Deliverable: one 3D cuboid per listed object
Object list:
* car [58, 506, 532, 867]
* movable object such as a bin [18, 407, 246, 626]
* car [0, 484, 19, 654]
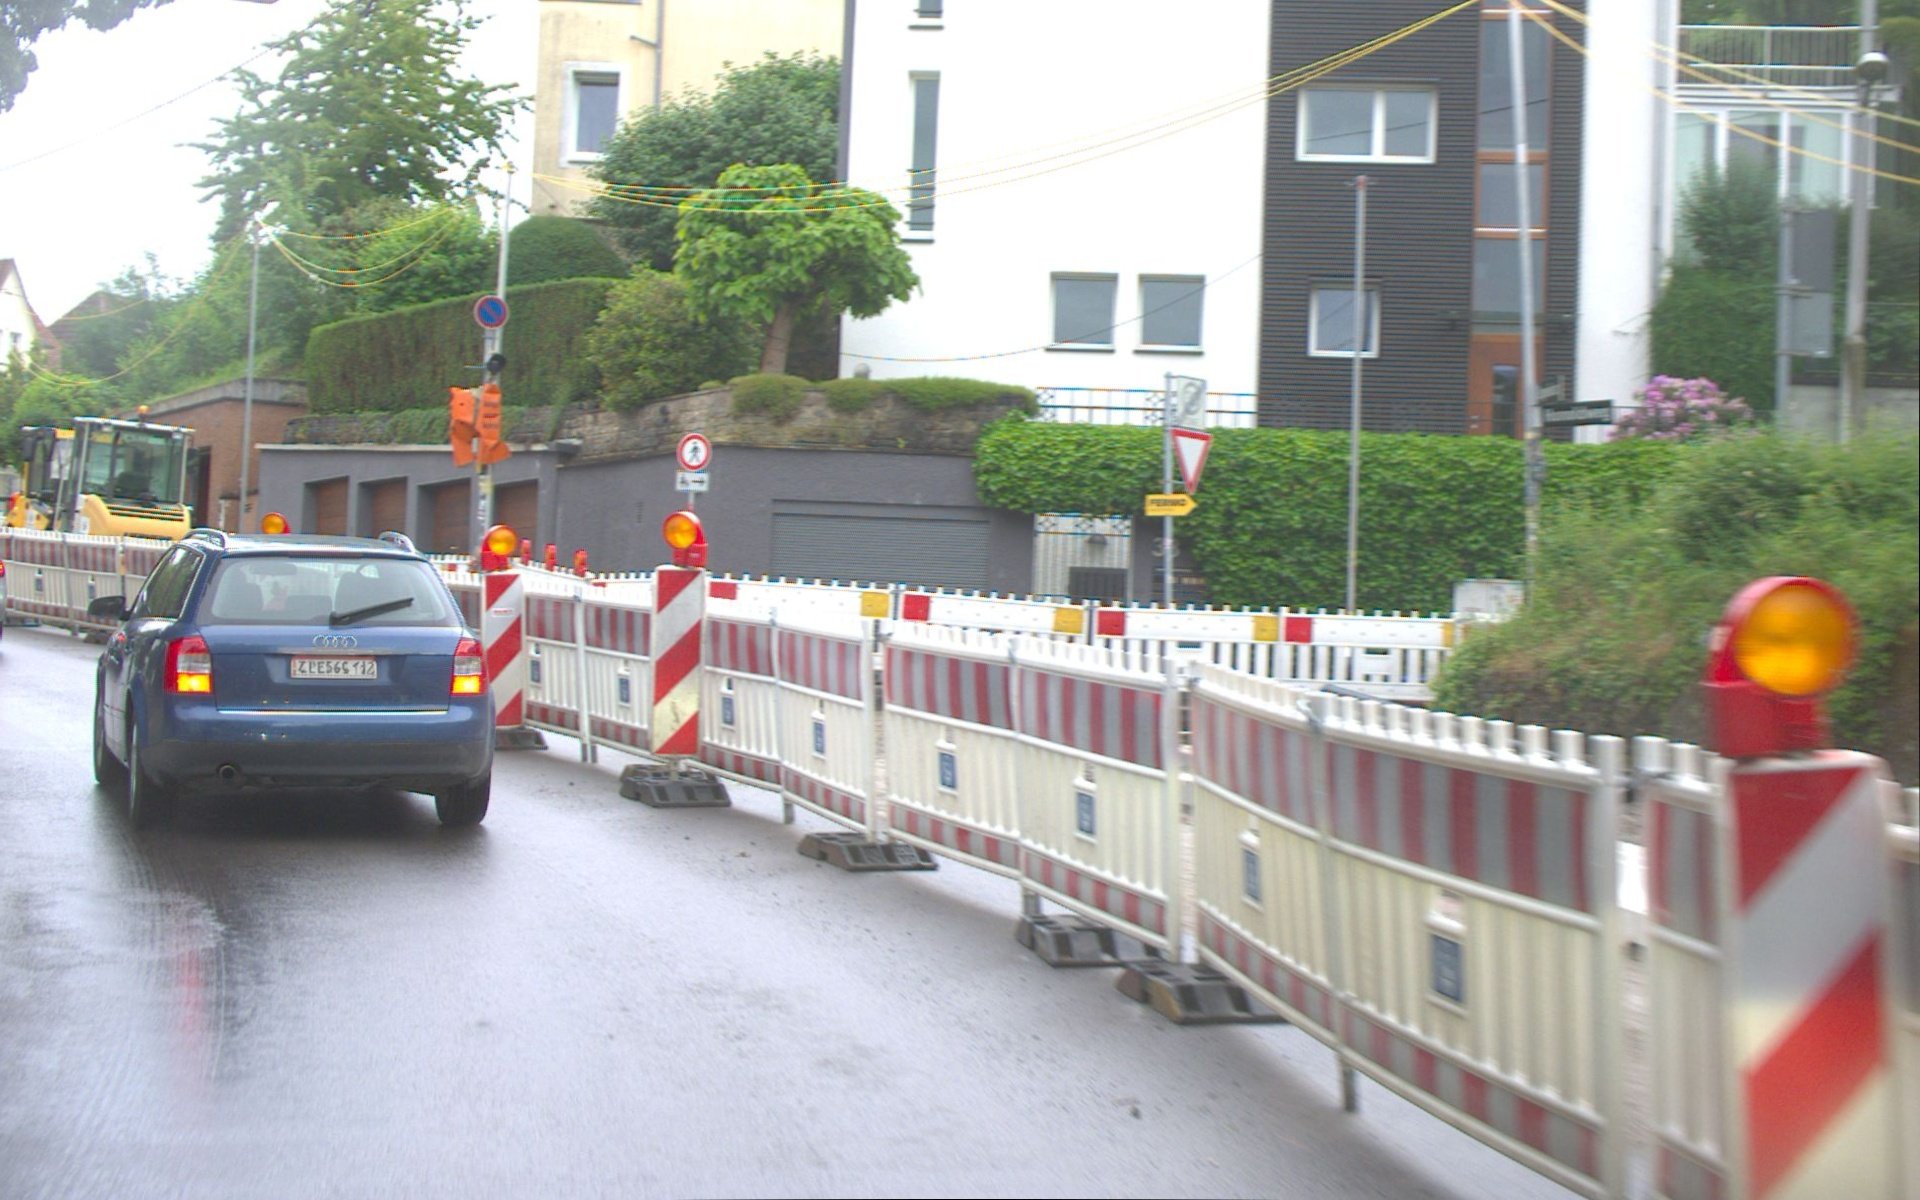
[{"bbox_3d":[-3.543,0.364,17.750,1.785,1.437,3.965,3,2,-19],"label":"car"},{"bbox_3d":[-10.544,-1.101,43.603,1.993,2.604,4.001,0,3,-26],"label":"movable object such as a bin"},{"bbox_3d":[-10.732,-0.310,34.179,1.926,1.612,4.321,0,0,-25],"label":"car"}]
